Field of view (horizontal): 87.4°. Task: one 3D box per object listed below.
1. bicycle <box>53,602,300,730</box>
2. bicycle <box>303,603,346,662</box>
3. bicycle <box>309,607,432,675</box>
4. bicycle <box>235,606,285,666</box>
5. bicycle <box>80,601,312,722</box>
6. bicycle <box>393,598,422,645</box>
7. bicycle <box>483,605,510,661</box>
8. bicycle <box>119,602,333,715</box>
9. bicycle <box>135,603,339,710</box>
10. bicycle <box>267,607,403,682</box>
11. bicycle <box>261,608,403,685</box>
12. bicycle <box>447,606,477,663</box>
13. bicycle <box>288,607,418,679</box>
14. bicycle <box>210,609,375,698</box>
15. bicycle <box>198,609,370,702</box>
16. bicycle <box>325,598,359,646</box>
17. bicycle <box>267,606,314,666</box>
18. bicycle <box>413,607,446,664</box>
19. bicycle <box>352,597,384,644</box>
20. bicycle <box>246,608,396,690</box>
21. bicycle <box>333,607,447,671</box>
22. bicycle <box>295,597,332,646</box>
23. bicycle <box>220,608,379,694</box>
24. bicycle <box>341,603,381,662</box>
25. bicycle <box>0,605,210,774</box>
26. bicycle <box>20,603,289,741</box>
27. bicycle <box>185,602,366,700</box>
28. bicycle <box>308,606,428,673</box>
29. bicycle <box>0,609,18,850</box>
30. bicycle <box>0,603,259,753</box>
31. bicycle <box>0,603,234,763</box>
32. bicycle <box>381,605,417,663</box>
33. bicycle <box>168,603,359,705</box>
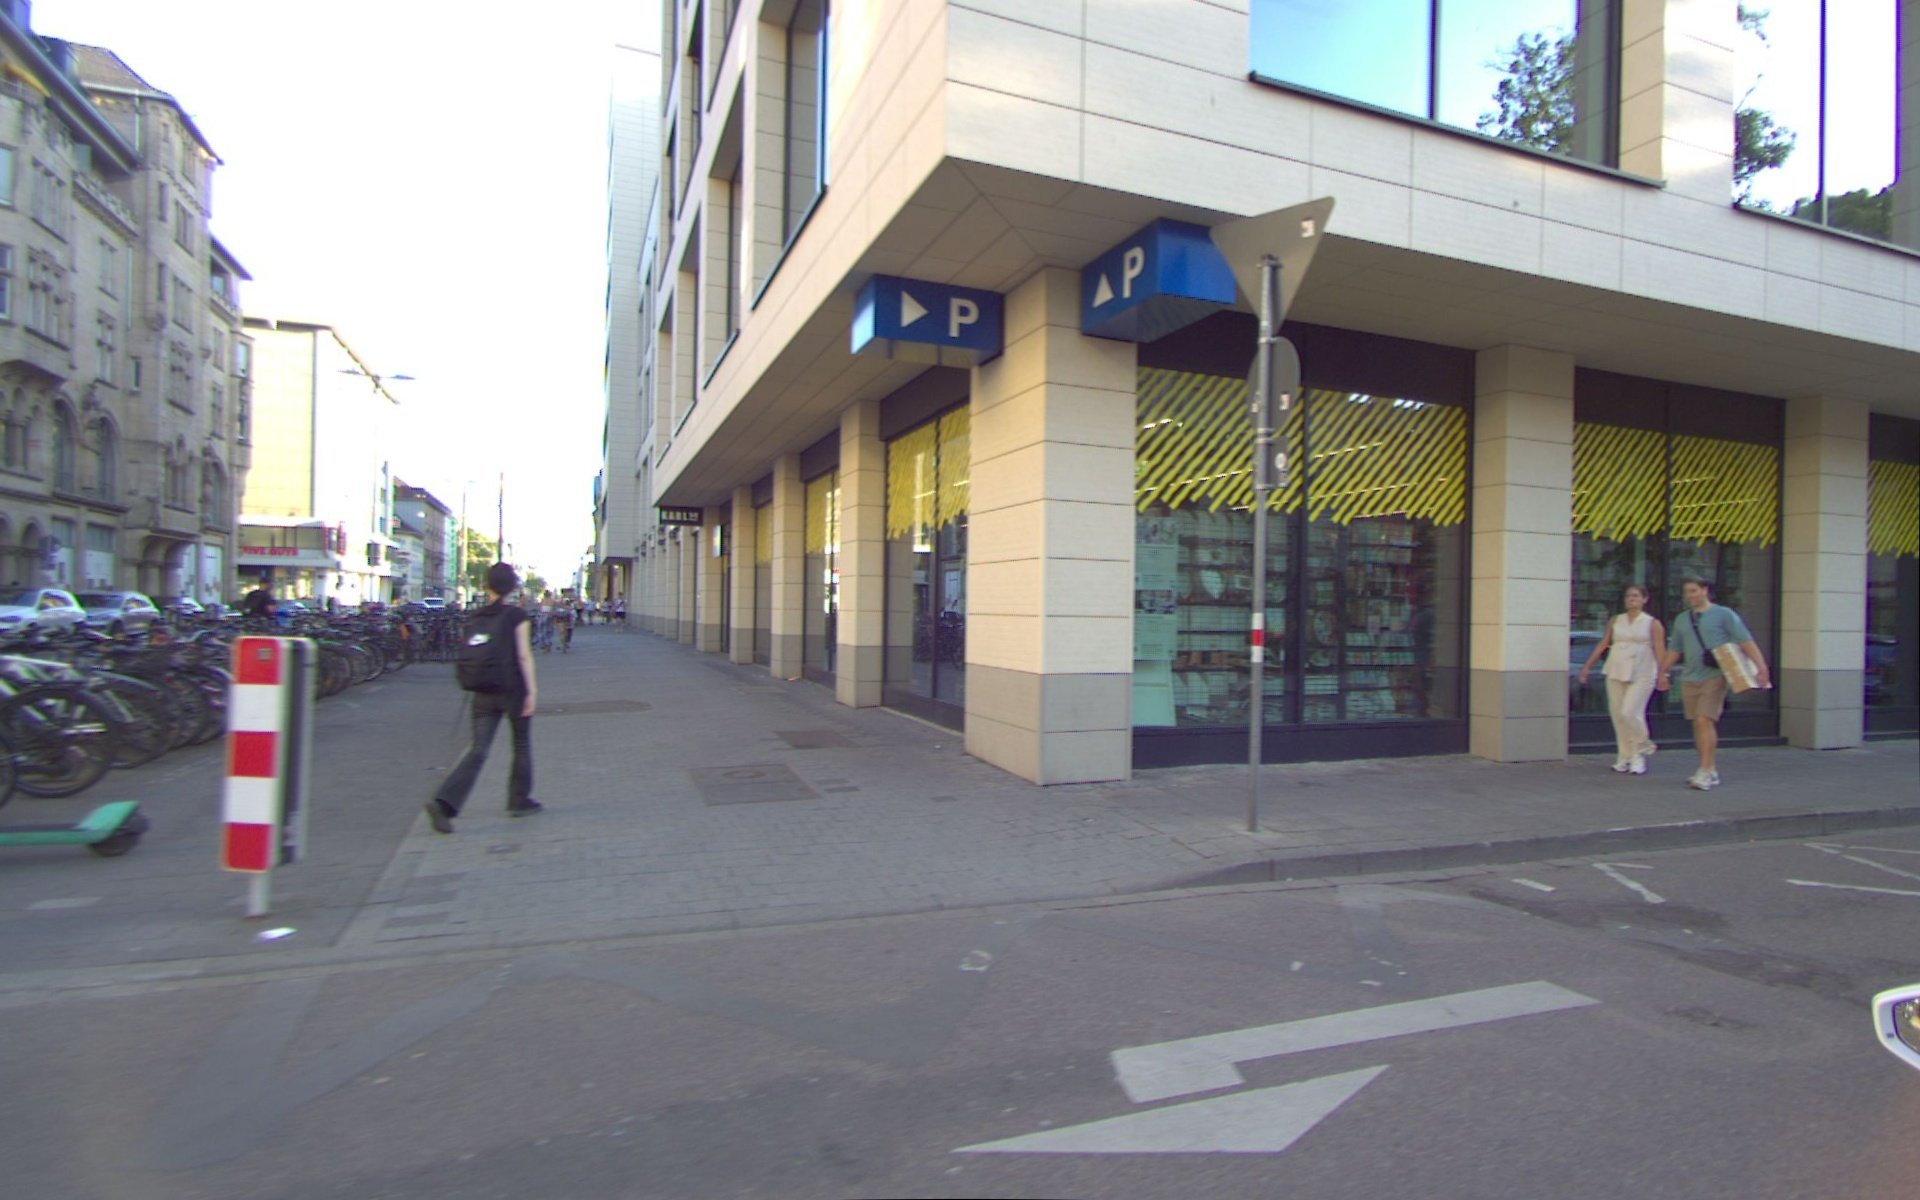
[{"bbox_3d":[-8.191,0.682,10.608,1.952,1.271,0.510,2,0,-25],"label":"bicycle"},{"bbox_3d":[-14.382,0.711,22.778,0.506,1.271,1.967,2,0,-24],"label":"bicycle"},{"bbox_3d":[-11.315,0.798,19.333,1.951,1.271,0.510,2,0,-24],"label":"bicycle"},{"bbox_3d":[-15.551,0.780,22.338,0.506,1.271,1.967,2,0,-24],"label":"bicycle"},{"bbox_3d":[-8.436,0.680,11.186,1.951,1.271,0.510,2,0,-24],"label":"bicycle"},{"bbox_3d":[-15.671,0.584,28.524,0.506,1.271,1.967,2,0,-24],"label":"bicycle"},{"bbox_3d":[-11.046,0.762,23.972,0.506,1.271,1.967,2,0,-24],"label":"bicycle"},{"bbox_3d":[-8.658,0.688,11.939,1.951,1.271,0.510,2,0,-24],"label":"bicycle"},{"bbox_3d":[-8.923,0.697,12.483,1.951,1.271,0.510,2,0,-24],"label":"bicycle"},{"bbox_3d":[-11.013,0.792,17.763,1.951,1.271,0.510,2,0,-24],"label":"bicycle"},{"bbox_3d":[-10.652,0.796,17.109,1.951,1.271,0.510,2,0,-24],"label":"bicycle"},{"bbox_3d":[-11.812,0.795,23.866,0.506,1.271,1.967,2,0,-24],"label":"bicycle"},{"bbox_3d":[-11.163,0.795,18.540,1.951,1.271,0.510,2,0,-24],"label":"bicycle"},{"bbox_3d":[-9.900,0.798,14.980,1.951,1.271,0.510,2,0,-24],"label":"bicycle"},{"bbox_3d":[-9.659,0.800,14.433,1.951,1.271,0.510,2,0,-24],"label":"bicycle"},{"bbox_3d":[-17.042,0.583,27.735,0.506,1.271,1.967,2,0,-24],"label":"bicycle"},{"bbox_3d":[-14.964,0.776,22.481,0.506,1.271,1.967,2,0,-24],"label":"bicycle"},{"bbox_3d":[-12.450,0.814,23.608,0.506,1.271,1.967,2,0,-24],"label":"bicycle"},{"bbox_3d":[-16.487,0.556,28.003,0.506,1.271,1.967,2,0,-24],"label":"bicycle"},{"bbox_3d":[-10.350,0.798,16.342,1.951,1.271,0.510,2,0,-24],"label":"bicycle"},{"bbox_3d":[-11.725,0.815,20.718,1.951,1.271,0.510,2,0,-24],"label":"bicycle"},{"bbox_3d":[-17.550,0.560,27.291,0.506,1.271,1.967,2,0,-24],"label":"bicycle"},{"bbox_3d":[-10.174,0.795,15.546,1.951,1.271,0.510,2,0,-24],"label":"bicycle"},{"bbox_3d":[-13.712,0.723,23.035,0.506,1.271,1.967,2,0,-24],"label":"bicycle"},{"bbox_3d":[-7.190,0.688,7.909,1.951,1.271,0.510,2,0,-24],"label":"bicycle"},{"bbox_3d":[-7.823,0.693,9.860,1.951,1.271,0.510,2,0,-24],"label":"bicycle"},{"bbox_3d":[-9.328,0.697,13.769,1.951,1.271,0.510,2,0,-24],"label":"bicycle"},{"bbox_3d":[-11.717,0.792,19.941,1.951,1.271,0.510,2,0,-24],"label":"bicycle"},{"bbox_3d":[-5.894,0.657,4.725,2.017,1.271,0.579,2,0,-26],"label":"bicycle"},{"bbox_3d":[-7.614,0.692,9.122,1.951,1.271,0.510,2,0,-24],"label":"bicycle"},{"bbox_3d":[-7.373,0.685,8.449,1.951,1.271,0.510,2,0,-24],"label":"bicycle"},{"bbox_3d":[-13.019,0.770,23.328,0.506,1.271,1.967,2,0,-24],"label":"bicycle"},{"bbox_3d":[-9.054,0.699,13.147,1.951,1.271,0.510,2,0,-24],"label":"bicycle"}]
